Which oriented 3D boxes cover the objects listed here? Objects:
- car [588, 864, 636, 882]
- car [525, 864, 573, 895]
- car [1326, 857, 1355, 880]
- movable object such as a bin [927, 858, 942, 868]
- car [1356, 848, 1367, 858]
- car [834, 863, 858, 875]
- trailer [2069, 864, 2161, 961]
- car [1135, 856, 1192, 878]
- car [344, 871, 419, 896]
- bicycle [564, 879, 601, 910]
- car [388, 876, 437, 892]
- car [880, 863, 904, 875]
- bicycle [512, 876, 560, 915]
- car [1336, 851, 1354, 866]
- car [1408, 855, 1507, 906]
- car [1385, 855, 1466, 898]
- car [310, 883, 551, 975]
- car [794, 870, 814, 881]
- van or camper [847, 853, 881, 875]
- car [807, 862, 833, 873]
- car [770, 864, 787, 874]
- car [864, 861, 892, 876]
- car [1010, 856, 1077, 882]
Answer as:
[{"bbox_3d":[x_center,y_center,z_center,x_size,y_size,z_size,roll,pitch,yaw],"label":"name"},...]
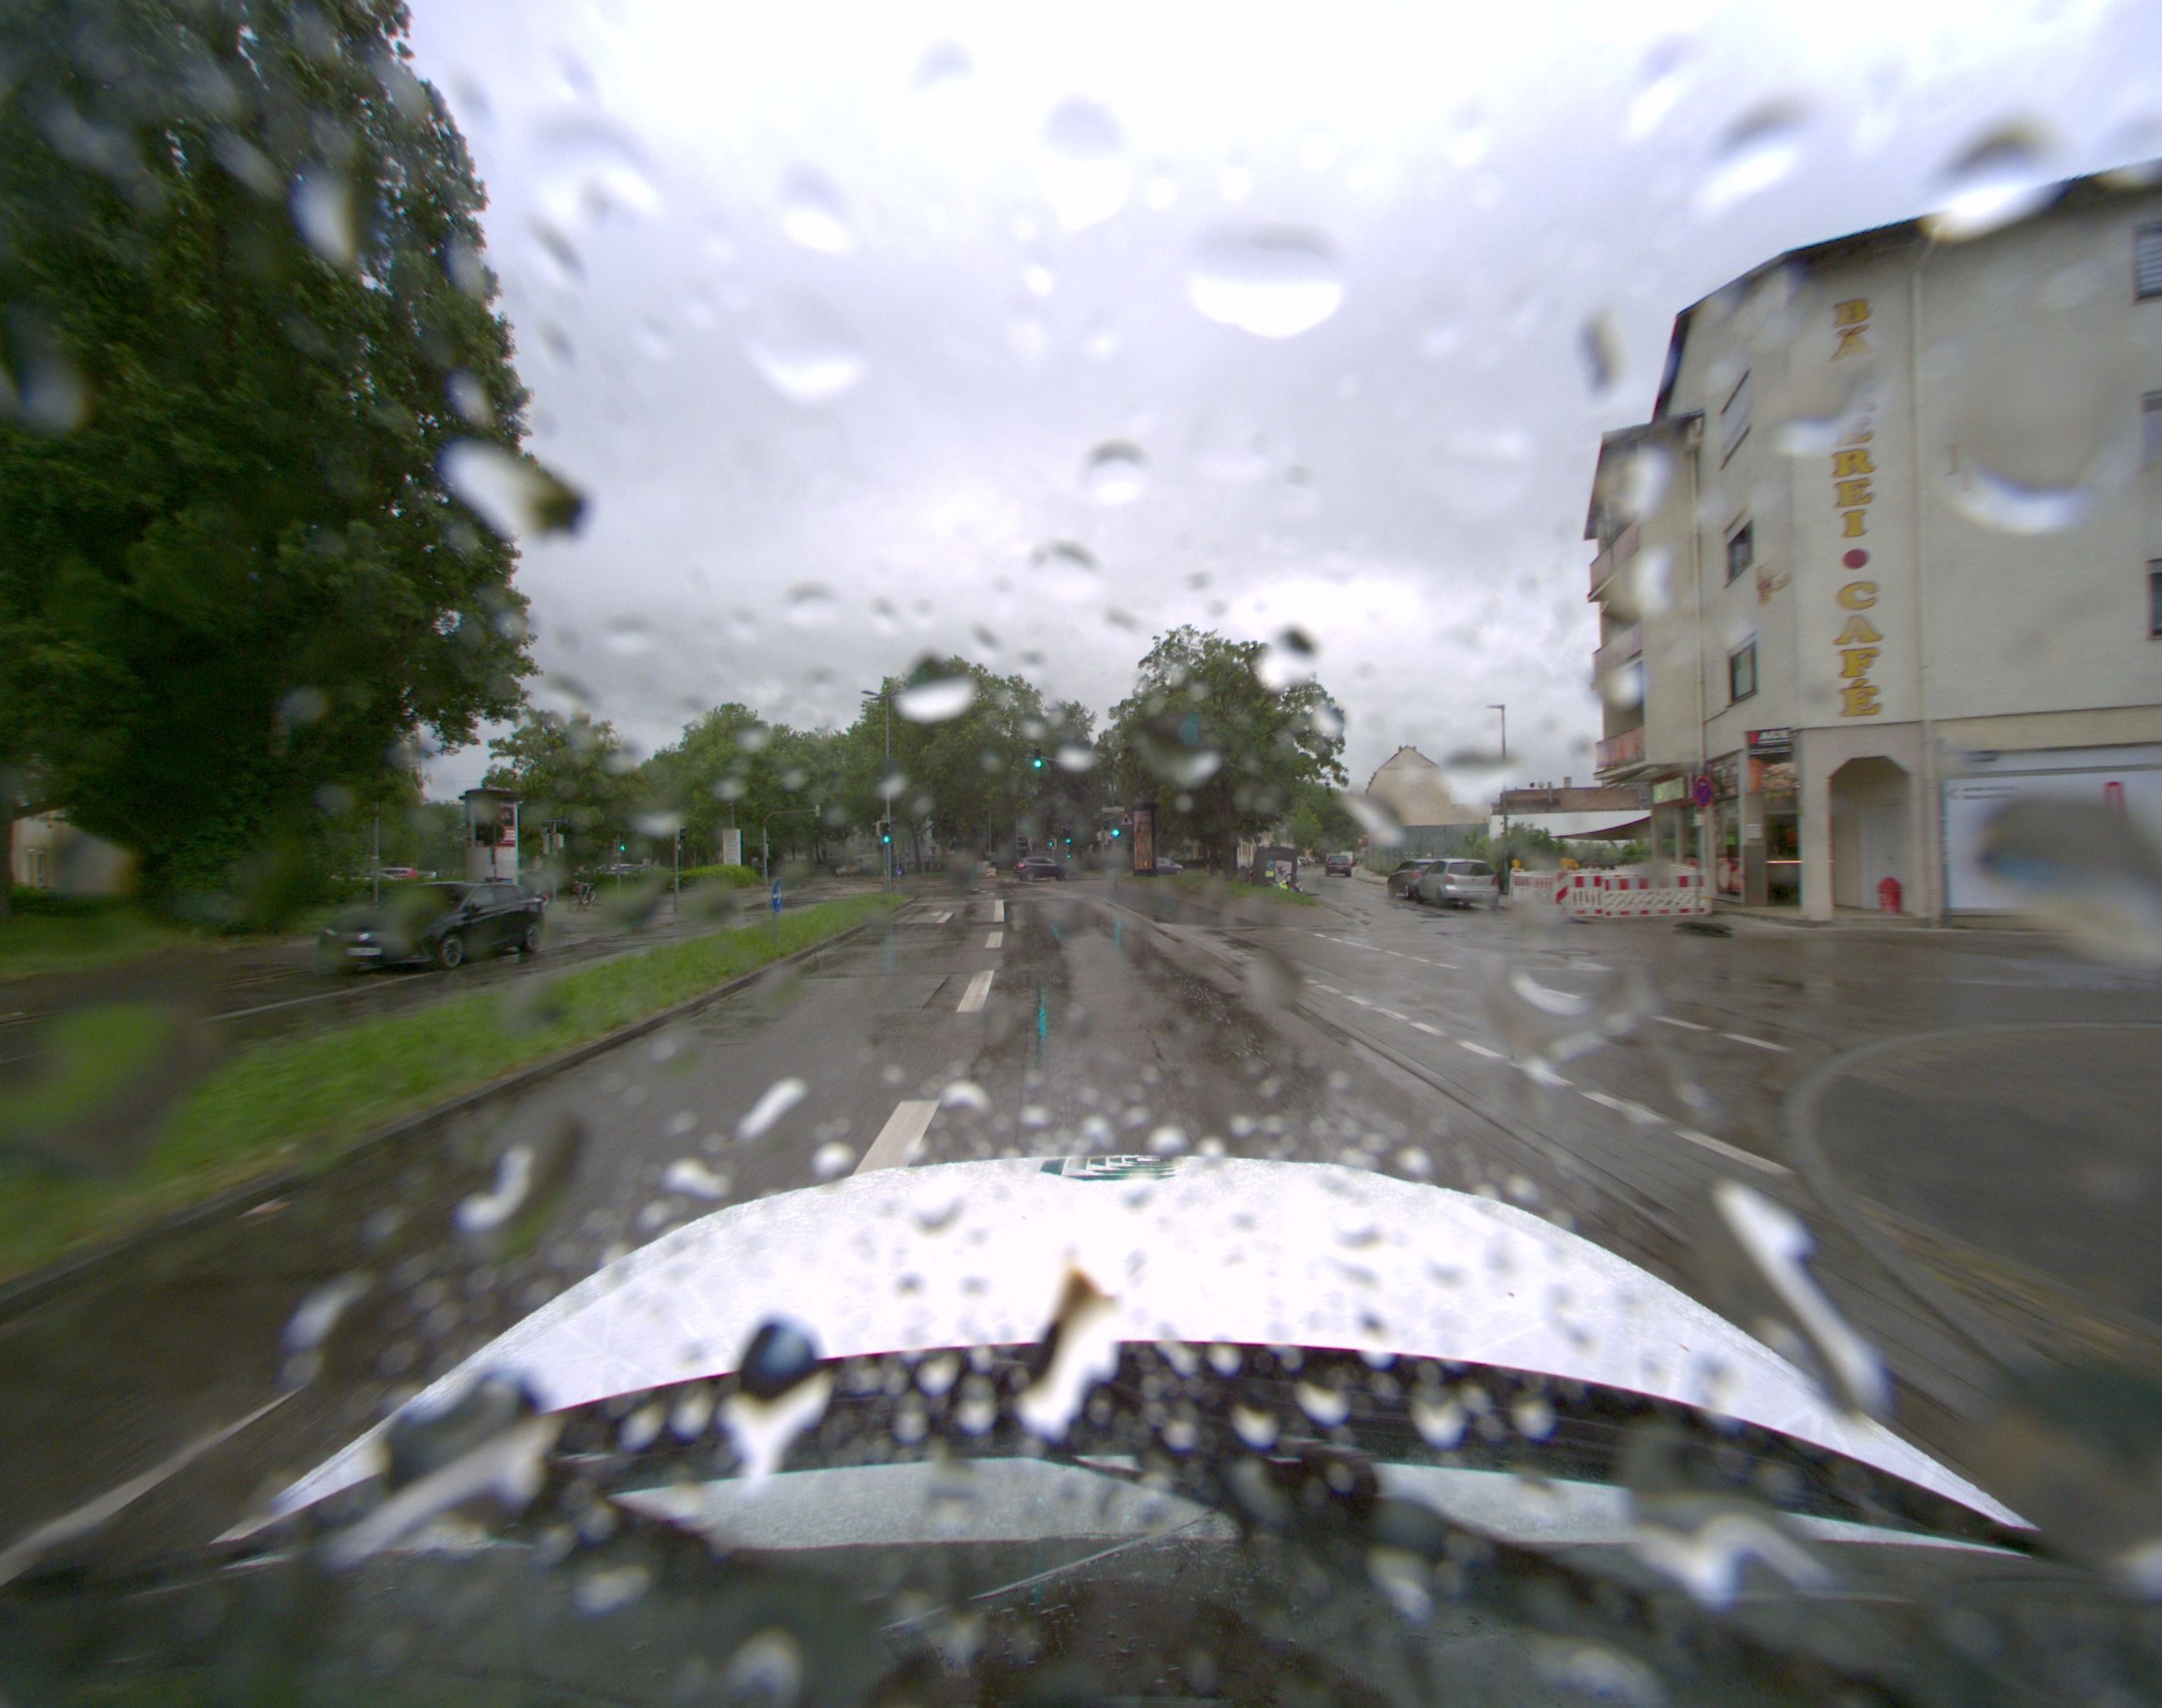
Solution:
[{"bbox_3d":[-47.757,1.929,82.904,4.019,1.833,1.833,0,-1,-38],"label":"car"},{"bbox_3d":[-31.437,1.513,48.082,1.792,1.686,3.976,-1,0,-41],"label":"car"},{"bbox_3d":[19.790,1.079,62.274,1.840,1.654,4.321,-1,-1,14],"label":"car"},{"bbox_3d":[-20.877,1.271,115.891,1.839,1.432,1.224,-1,-1,37],"label":"movable object such as a bin"},{"bbox_3d":[59.919,-0.148,173.914,1.977,2.014,4.020,-1,-1,20],"label":"car"},{"bbox_3d":[-28.757,1.819,99.731,1.719,1.411,3.605,-3,1,-35],"label":"car"},{"bbox_3d":[16.284,0.738,10.280,4.477,1.232,1.835,-1,-1,27],"label":"trailer"},{"bbox_3d":[6.187,0.968,61.163,4.110,1.602,1.976,0,-1,-41],"label":"car"},{"bbox_3d":[-52.292,2.181,61.009,4.017,1.686,1.978,-2,0,-35],"label":"car"},{"bbox_3d":[-18.197,1.465,29.781,0.556,1.077,1.789,0,-1,-11],"label":"bicycle"},{"bbox_3d":[-72.387,3.234,88.275,4.018,1.560,1.978,-2,0,-37],"label":"car"},{"bbox_3d":[-22.598,1.776,97.466,1.559,1.390,4.107,0,-1,-32],"label":"car"},{"bbox_3d":[-17.654,1.332,26.419,0.697,1.186,1.618,0,-1,-11],"label":"bicycle"},{"bbox_3d":[39.789,0.664,122.703,2.330,2.208,4.636,-1,-1,21],"label":"car"},{"bbox_3d":[11.406,0.768,24.957,1.625,1.433,4.186,-1,-1,8],"label":"car"},{"bbox_3d":[12.297,0.795,29.344,1.688,1.433,4.166,-1,-1,8],"label":"car"},{"bbox_3d":[-11.946,1.287,15.359,1.543,1.397,4.183,0,-1,-7],"label":"car"},{"bbox_3d":[-39.581,3.073,116.511,1.719,1.411,3.605,-3,1,-35],"label":"car"},{"bbox_3d":[-29.104,1.371,109.016,2.335,2.807,6.792,0,-1,-33],"label":"van or camper"},{"bbox_3d":[-39.946,2.022,124.730,1.780,1.601,3.790,-1,-1,25],"label":"car"},{"bbox_3d":[-47.933,2.387,128.978,1.719,1.411,3.605,-3,1,-35],"label":"car"},{"bbox_3d":[-25.269,1.810,101.241,1.930,1.620,4.404,0,-3,-36],"label":"car"},{"bbox_3d":[-2.644,1.040,56.755,4.303,1.744,1.987,0,-1,-19],"label":"car"}]
